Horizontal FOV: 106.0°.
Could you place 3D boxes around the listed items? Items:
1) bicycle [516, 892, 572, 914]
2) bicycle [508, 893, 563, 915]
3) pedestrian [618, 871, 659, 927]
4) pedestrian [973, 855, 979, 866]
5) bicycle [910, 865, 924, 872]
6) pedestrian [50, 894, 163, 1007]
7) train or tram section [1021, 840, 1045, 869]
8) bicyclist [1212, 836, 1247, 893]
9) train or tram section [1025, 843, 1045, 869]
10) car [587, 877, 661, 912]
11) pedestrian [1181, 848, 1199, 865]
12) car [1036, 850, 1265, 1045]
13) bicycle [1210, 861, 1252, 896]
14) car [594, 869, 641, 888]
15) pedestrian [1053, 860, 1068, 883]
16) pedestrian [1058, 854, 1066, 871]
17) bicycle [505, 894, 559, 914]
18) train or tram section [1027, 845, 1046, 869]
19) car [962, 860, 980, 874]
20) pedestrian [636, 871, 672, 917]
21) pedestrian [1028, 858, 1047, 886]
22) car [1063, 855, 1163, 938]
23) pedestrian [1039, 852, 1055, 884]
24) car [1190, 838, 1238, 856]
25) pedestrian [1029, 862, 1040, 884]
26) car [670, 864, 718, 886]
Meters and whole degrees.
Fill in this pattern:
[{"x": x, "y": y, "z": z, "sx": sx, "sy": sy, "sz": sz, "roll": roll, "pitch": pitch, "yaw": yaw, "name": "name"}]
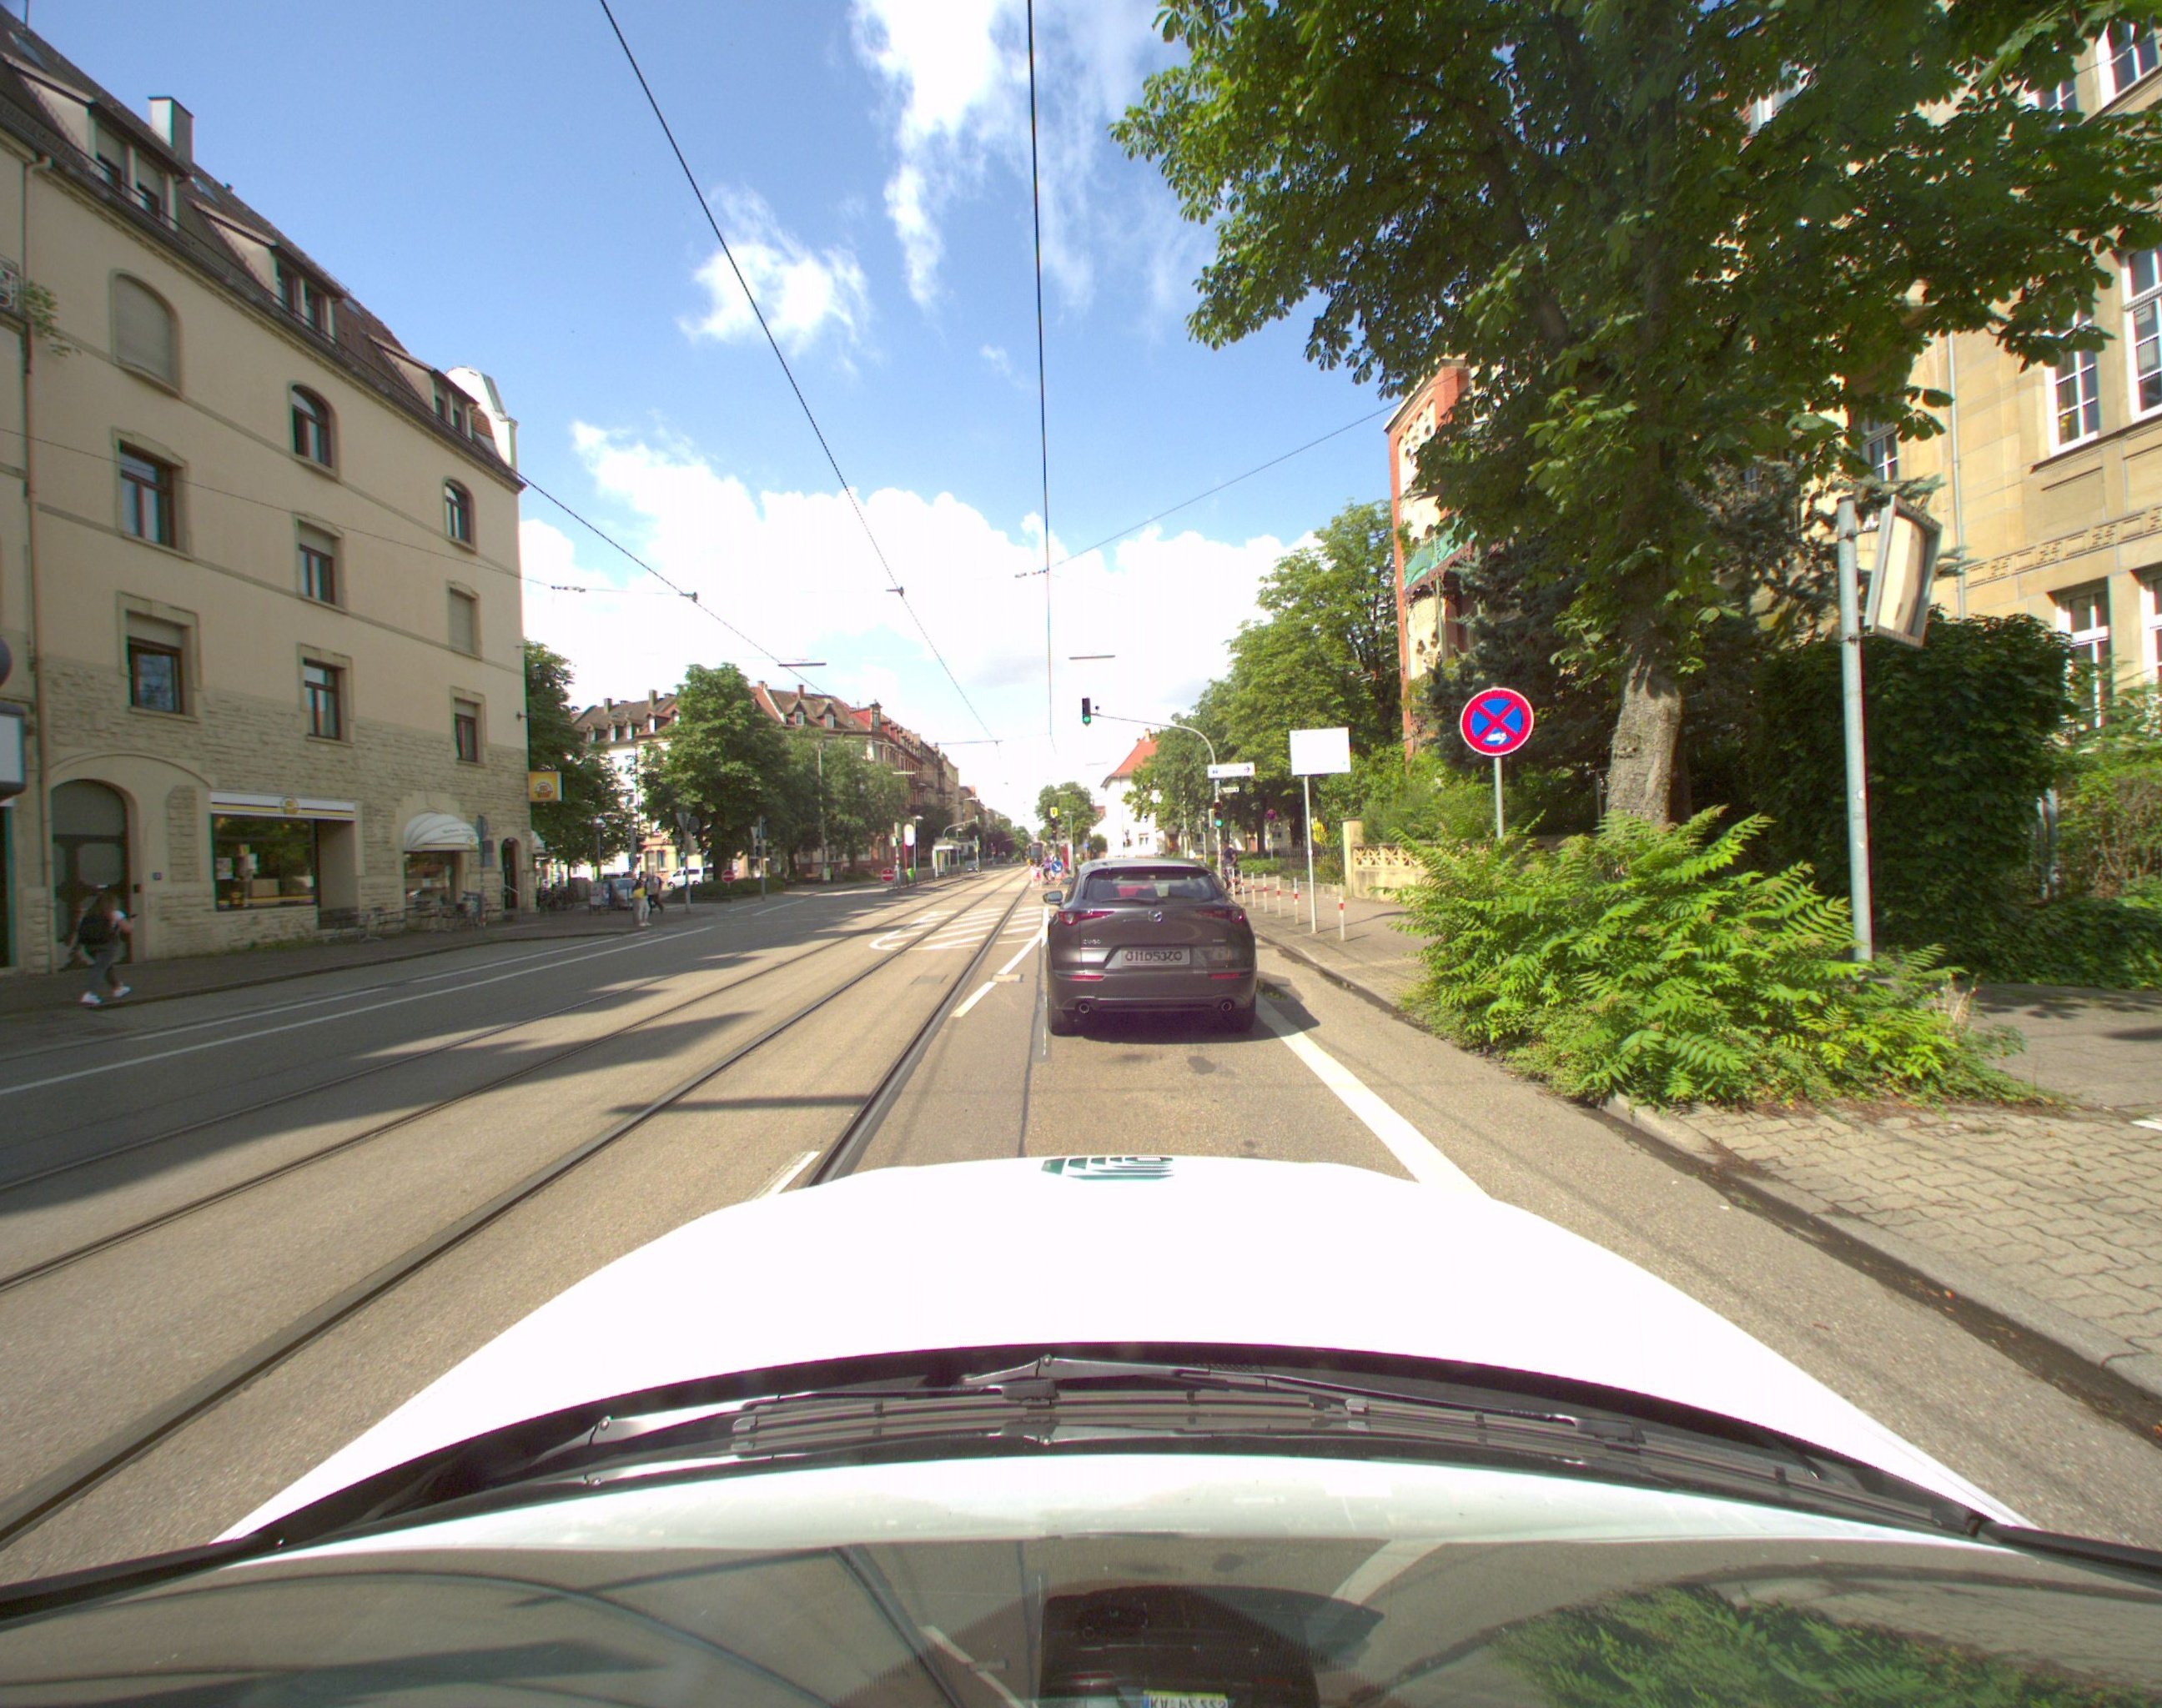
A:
[{"x": -24.362, "y": 2.235, "z": 36.995, "sx": 0.516, "sy": 0.882, "sz": 2.043, "roll": -3, "pitch": -2, "yaw": 44, "name": "bicycle"}, {"x": -25.351, "y": 2.308, "z": 37.888, "sx": 0.505, "sy": 0.882, "sz": 2.043, "roll": -3, "pitch": -2, "yaw": 44, "name": "bicycle"}, {"x": -13.870, "y": 1.398, "z": 25.542, "sx": 0.754, "sy": 1.704, "sz": 0.873, "roll": 2, "pitch": 0, "yaw": -3, "name": "pedestrian"}, {"x": -16.208, "y": 1.045, "z": 125.709, "sx": 0.785, "sy": 1.688, "sz": 0.732, "roll": -3, "pitch": 0, "yaw": -1, "name": "pedestrian"}, {"x": -19.103, "y": 1.707, "z": 94.891, "sx": 0.381, "sy": 0.747, "sz": 1.722, "roll": -3, "pitch": 0, "yaw": 34, "name": "bicycle"}, {"x": -14.396, "y": 1.387, "z": 12.066, "sx": 0.697, "sy": 1.541, "sz": 0.955, "roll": 2, "pitch": -1, "yaw": -26, "name": "pedestrian"}, {"x": -6.998, "y": 0.209, "z": 120.452, "sx": 2.990, "sy": 3.983, "sz": 13.796, "roll": -3, "pitch": -1, "yaw": -2, "name": "train or tram section"}, {"x": 4.889, "y": 0.355, "z": 26.799, "sx": 0.736, "sy": 1.819, "sz": 0.814, "roll": -3, "pitch": 0, "yaw": -25, "name": "bicyclist"}, {"x": -7.495, "y": 0.423, "z": 134.293, "sx": 2.990, "sy": 3.983, "sz": 13.796, "roll": -3, "pitch": -1, "yaw": -2, "name": "train or tram section"}, {"x": -21.195, "y": 1.867, "z": 37.723, "sx": 3.823, "sy": 1.420, "sz": 1.732, "roll": -3, "pitch": 0, "yaw": 41, "name": "car"}, {"x": 8.790, "y": 0.173, "z": 65.666, "sx": 1.191, "sy": 1.269, "sz": 0.556, "roll": -5, "pitch": 0, "yaw": -7, "name": "pedestrian"}, {"x": 0.615, "y": 0.745, "z": 8.366, "sx": 1.775, "sy": 1.514, "sz": 4.002, "roll": -1, "pitch": 0, "yaw": 2, "name": "car"}, {"x": 4.976, "y": 0.799, "z": 26.939, "sx": 0.385, "sy": 1.035, "sz": 1.857, "roll": -3, "pitch": 0, "yaw": 42, "name": "bicycle"}, {"x": -46.490, "y": 2.448, "z": 81.651, "sx": 3.895, "sy": 1.663, "sz": 1.926, "roll": -3, "pitch": 0, "yaw": 20, "name": "car"}, {"x": -1.047, "y": 0.878, "z": 41.227, "sx": 0.642, "sy": 1.114, "sz": 0.441, "roll": -3, "pitch": 0, "yaw": -17, "name": "pedestrian"}, {"x": -1.815, "y": 0.831, "z": 76.146, "sx": 0.666, "sy": 1.546, "sz": 0.580, "roll": -3, "pitch": 0, "yaw": -3, "name": "pedestrian"}, {"x": -26.151, "y": 2.370, "z": 38.814, "sx": 0.505, "sy": 0.882, "sz": 2.043, "roll": -3, "pitch": -2, "yaw": 44, "name": "bicycle"}, {"x": -7.965, "y": 0.593, "z": 148.060, "sx": 2.990, "sy": 3.983, "sz": 13.796, "roll": -3, "pitch": -1, "yaw": -2, "name": "train or tram section"}, {"x": -12.352, "y": 1.443, "z": 91.645, "sx": 1.620, "sy": 1.387, "sz": 3.434, "roll": -4, "pitch": 0, "yaw": -1, "name": "car"}, {"x": -16.354, "y": 1.523, "z": 31.200, "sx": 0.852, "sy": 1.672, "sz": 0.822, "roll": -3, "pitch": 0, "yaw": -1, "name": "pedestrian"}, {"x": -2.158, "y": 0.908, "z": 40.568, "sx": 0.825, "sy": 1.303, "sz": 0.716, "roll": -5, "pitch": 0, "yaw": -7, "name": "pedestrian"}, {"x": 0.625, "y": 0.764, "z": 16.602, "sx": 1.769, "sy": 1.464, "sz": 3.843, "roll": -1, "pitch": 0, "yaw": 1, "name": "car"}, {"x": -1.734, "y": 0.708, "z": 41.485, "sx": 0.727, "sy": 1.565, "sz": 0.797, "roll": -3, "pitch": 0, "yaw": -7, "name": "pedestrian"}, {"x": 12.880, "y": -0.694, "z": 78.809, "sx": 4.118, "sy": 1.509, "sz": 1.864, "roll": -3, "pitch": 1, "yaw": 40, "name": "car"}, {"x": -2.383, "y": 0.956, "z": 41.582, "sx": 0.437, "sy": 1.108, "sz": 0.422, "roll": -5, "pitch": 0, "yaw": -7, "name": "pedestrian"}, {"x": -37.226, "y": 2.032, "z": 78.302, "sx": 3.901, "sy": 1.988, "sz": 1.866, "roll": -2, "pitch": 0, "yaw": 21, "name": "car"}]
